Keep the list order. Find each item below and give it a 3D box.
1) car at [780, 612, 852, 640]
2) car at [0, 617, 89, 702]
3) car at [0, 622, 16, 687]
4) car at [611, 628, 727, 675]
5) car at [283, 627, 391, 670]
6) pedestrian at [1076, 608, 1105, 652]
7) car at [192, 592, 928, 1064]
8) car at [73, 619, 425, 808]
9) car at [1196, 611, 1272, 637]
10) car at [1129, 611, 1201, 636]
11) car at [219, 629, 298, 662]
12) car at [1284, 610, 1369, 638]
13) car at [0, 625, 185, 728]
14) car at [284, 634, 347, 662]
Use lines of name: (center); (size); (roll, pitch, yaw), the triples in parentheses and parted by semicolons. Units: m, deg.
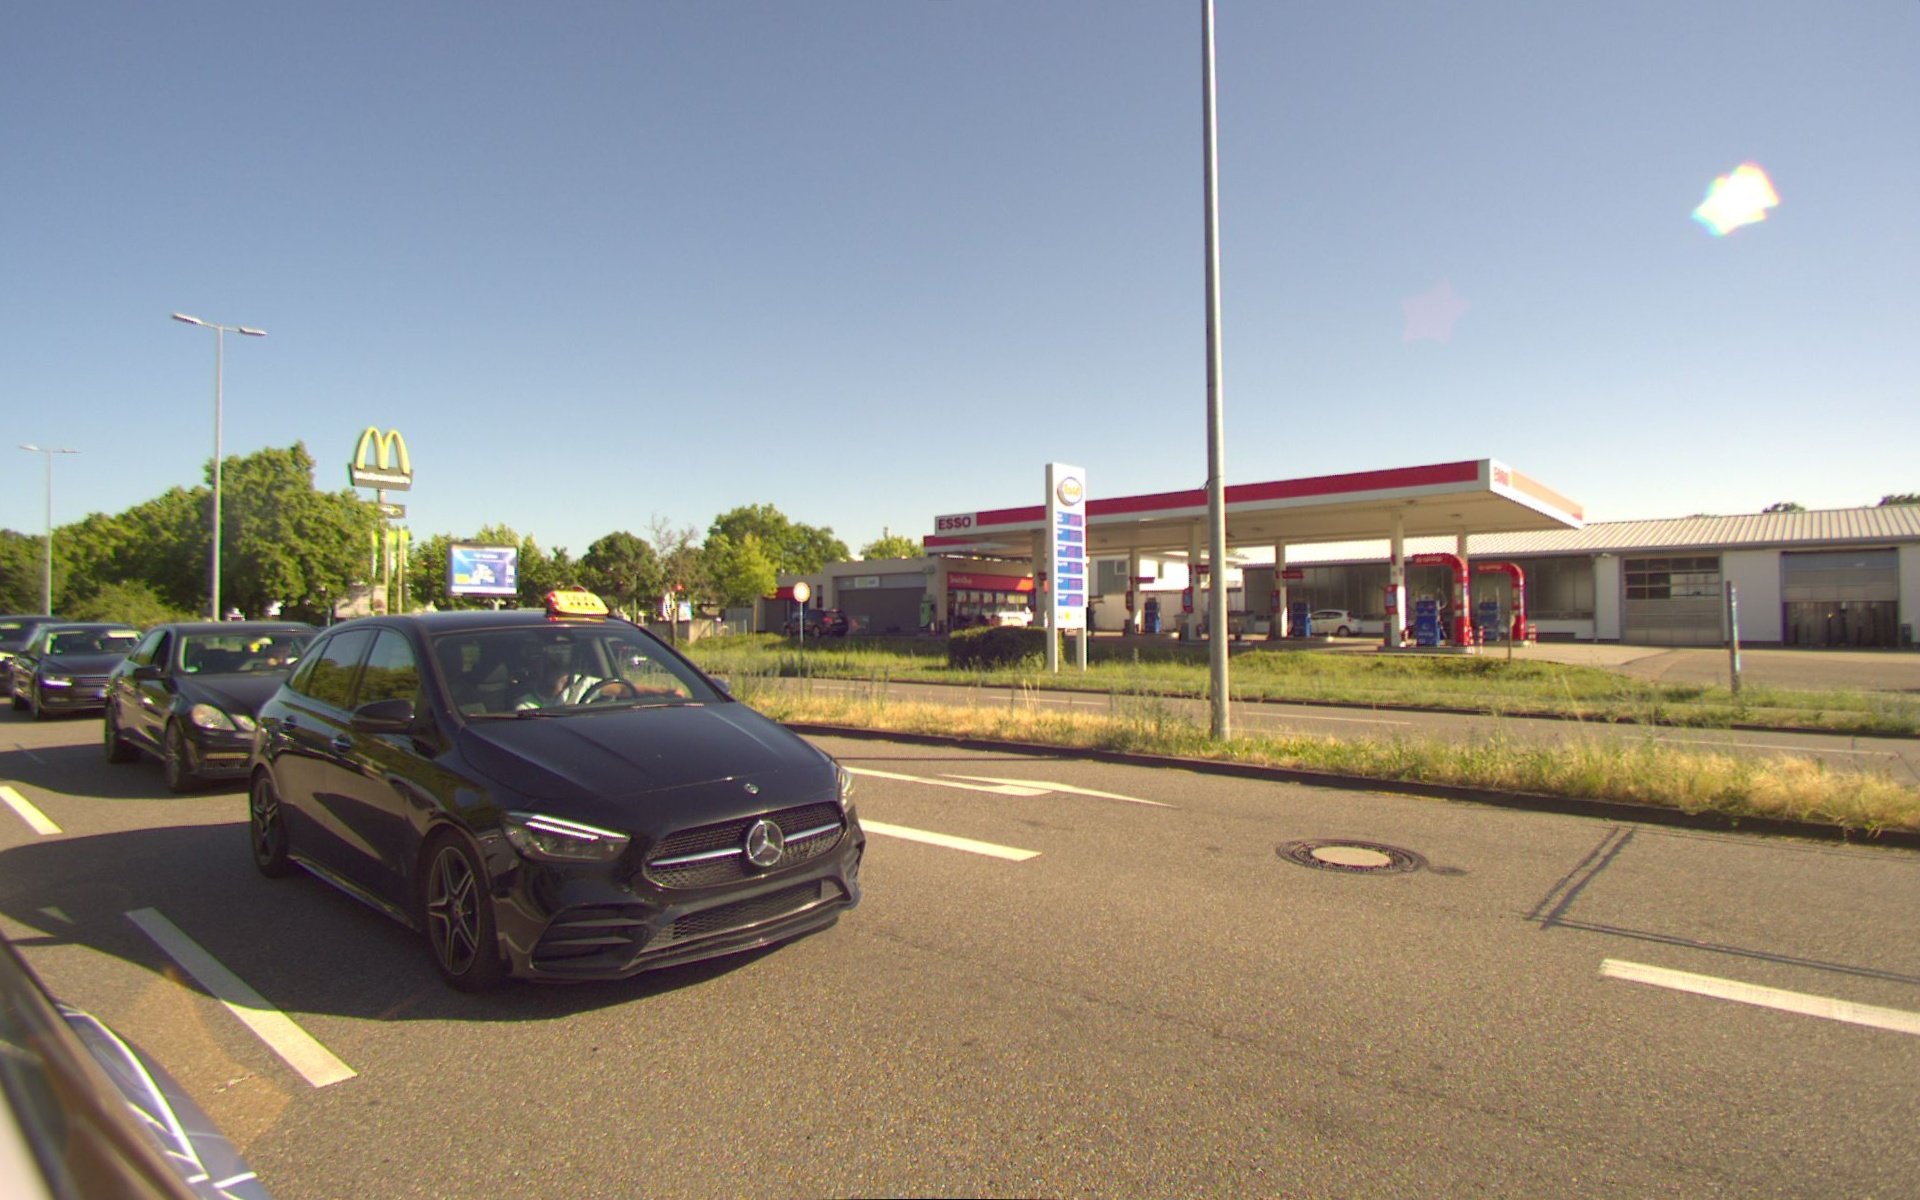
car: (-7.842, 1.413, 54.943); (3.975, 1.420, 1.661); (-1, -4, 40)
car: (-19.939, 1.212, 21.441); (3.876, 1.629, 1.653); (-2, -1, 40)
car: (-25.224, 1.378, 25.538); (3.774, 1.567, 1.615); (-1, -1, 40)
car: (-9.649, 1.689, 33.453); (3.975, 1.420, 1.741); (-1, -4, 40)
car: (-22.362, 1.727, 36.278); (4.295, 1.420, 1.713); (-1, -3, 35)
pedestrian: (5.332, 1.209, 41.401); (0.903, 1.763, 0.780); (-1, 0, 42)
car: (-2.383, 0.745, 5.333); (4.400, 1.502, 1.741); (-1, 0, 40)
car: (-7.261, 0.939, 10.160); (4.400, 1.449, 1.845); (-1, 0, 40)
car: (15.834, 1.371, 58.580); (3.975, 1.420, 1.661); (-1, -4, 40)
car: (12.436, 1.415, 61.379); (3.975, 1.420, 1.661); (-1, -4, 40)
car: (-34.637, 2.232, 49.940); (4.872, 1.502, 1.742); (-1, -4, 38)
car: (19.836, 1.319, 54.838); (3.975, 1.420, 1.661); (-1, -4, 40)
car: (-14.452, 1.163, 16.691); (4.284, 1.438, 1.775); (-1, 0, 40)
car: (-35.296, 2.616, 55.408); (3.975, 1.420, 1.741); (-1, -4, 40)
